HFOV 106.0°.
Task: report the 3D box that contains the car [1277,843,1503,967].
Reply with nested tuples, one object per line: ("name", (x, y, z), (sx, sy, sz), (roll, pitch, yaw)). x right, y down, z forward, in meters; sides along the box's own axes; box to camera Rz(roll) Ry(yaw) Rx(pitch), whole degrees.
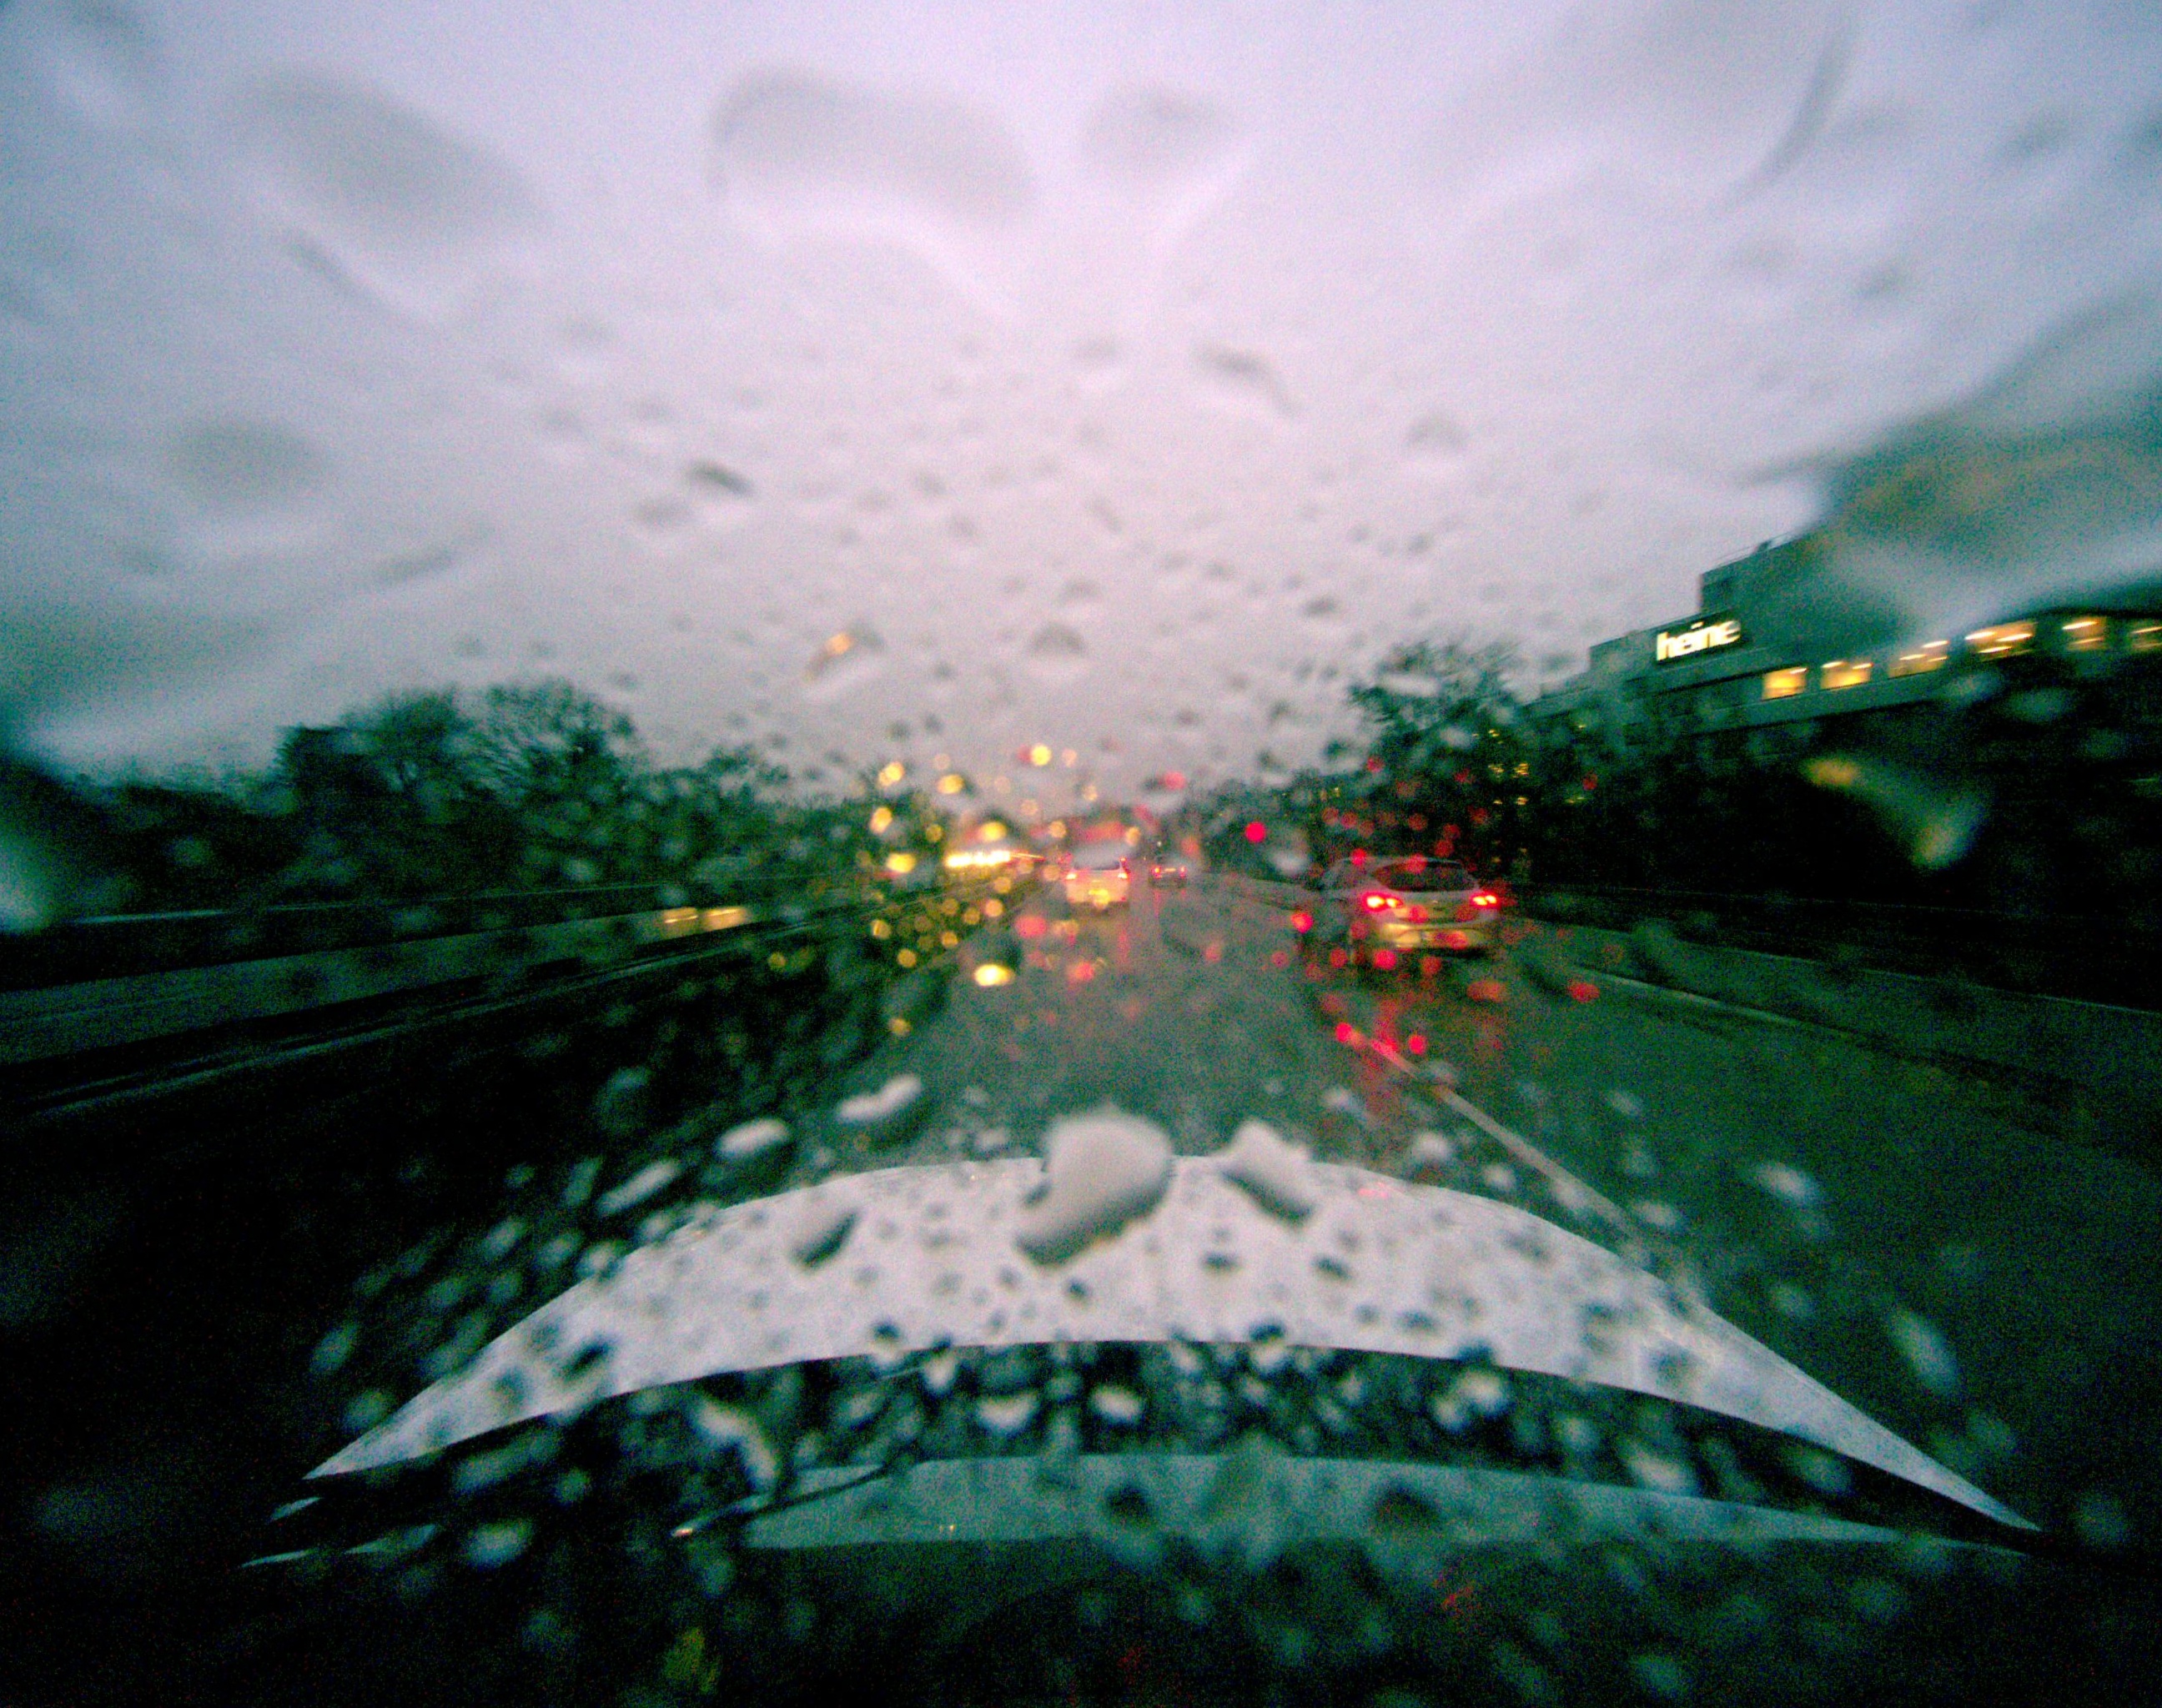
("car", (4.317, 0.636, 12.159), (1.843, 1.501, 4.263), (-1, 0, 1))

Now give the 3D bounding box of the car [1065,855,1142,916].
("car", (0.585, 0.829, 23.500), (2.018, 1.575, 3.999), (-1, 0, 0))

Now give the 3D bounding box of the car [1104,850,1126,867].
("car", (3.407, 0.457, 82.218), (1.927, 1.546, 3.773), (-7, 0, 0))

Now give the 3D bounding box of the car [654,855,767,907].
("car", (-11.034, 0.752, 24.552), (1.691, 1.441, 3.681), (-1, 0, 0))

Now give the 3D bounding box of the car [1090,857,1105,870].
("car", (2.160, 1.240, 105.361), (1.926, 1.546, 3.774), (-1, 0, 1))

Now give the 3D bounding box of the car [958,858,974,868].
("car", (-17.764, 1.338, 125.938), (1.832, 1.556, 4.353), (-1, 0, -1))

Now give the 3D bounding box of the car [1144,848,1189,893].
("car", (4.104, 0.764, 39.477), (1.925, 2.019, 3.775), (-1, 0, 2))

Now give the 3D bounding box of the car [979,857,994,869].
("car", (-13.564, 1.292, 116.996), (1.832, 1.556, 4.352), (-1, 0, -1))
